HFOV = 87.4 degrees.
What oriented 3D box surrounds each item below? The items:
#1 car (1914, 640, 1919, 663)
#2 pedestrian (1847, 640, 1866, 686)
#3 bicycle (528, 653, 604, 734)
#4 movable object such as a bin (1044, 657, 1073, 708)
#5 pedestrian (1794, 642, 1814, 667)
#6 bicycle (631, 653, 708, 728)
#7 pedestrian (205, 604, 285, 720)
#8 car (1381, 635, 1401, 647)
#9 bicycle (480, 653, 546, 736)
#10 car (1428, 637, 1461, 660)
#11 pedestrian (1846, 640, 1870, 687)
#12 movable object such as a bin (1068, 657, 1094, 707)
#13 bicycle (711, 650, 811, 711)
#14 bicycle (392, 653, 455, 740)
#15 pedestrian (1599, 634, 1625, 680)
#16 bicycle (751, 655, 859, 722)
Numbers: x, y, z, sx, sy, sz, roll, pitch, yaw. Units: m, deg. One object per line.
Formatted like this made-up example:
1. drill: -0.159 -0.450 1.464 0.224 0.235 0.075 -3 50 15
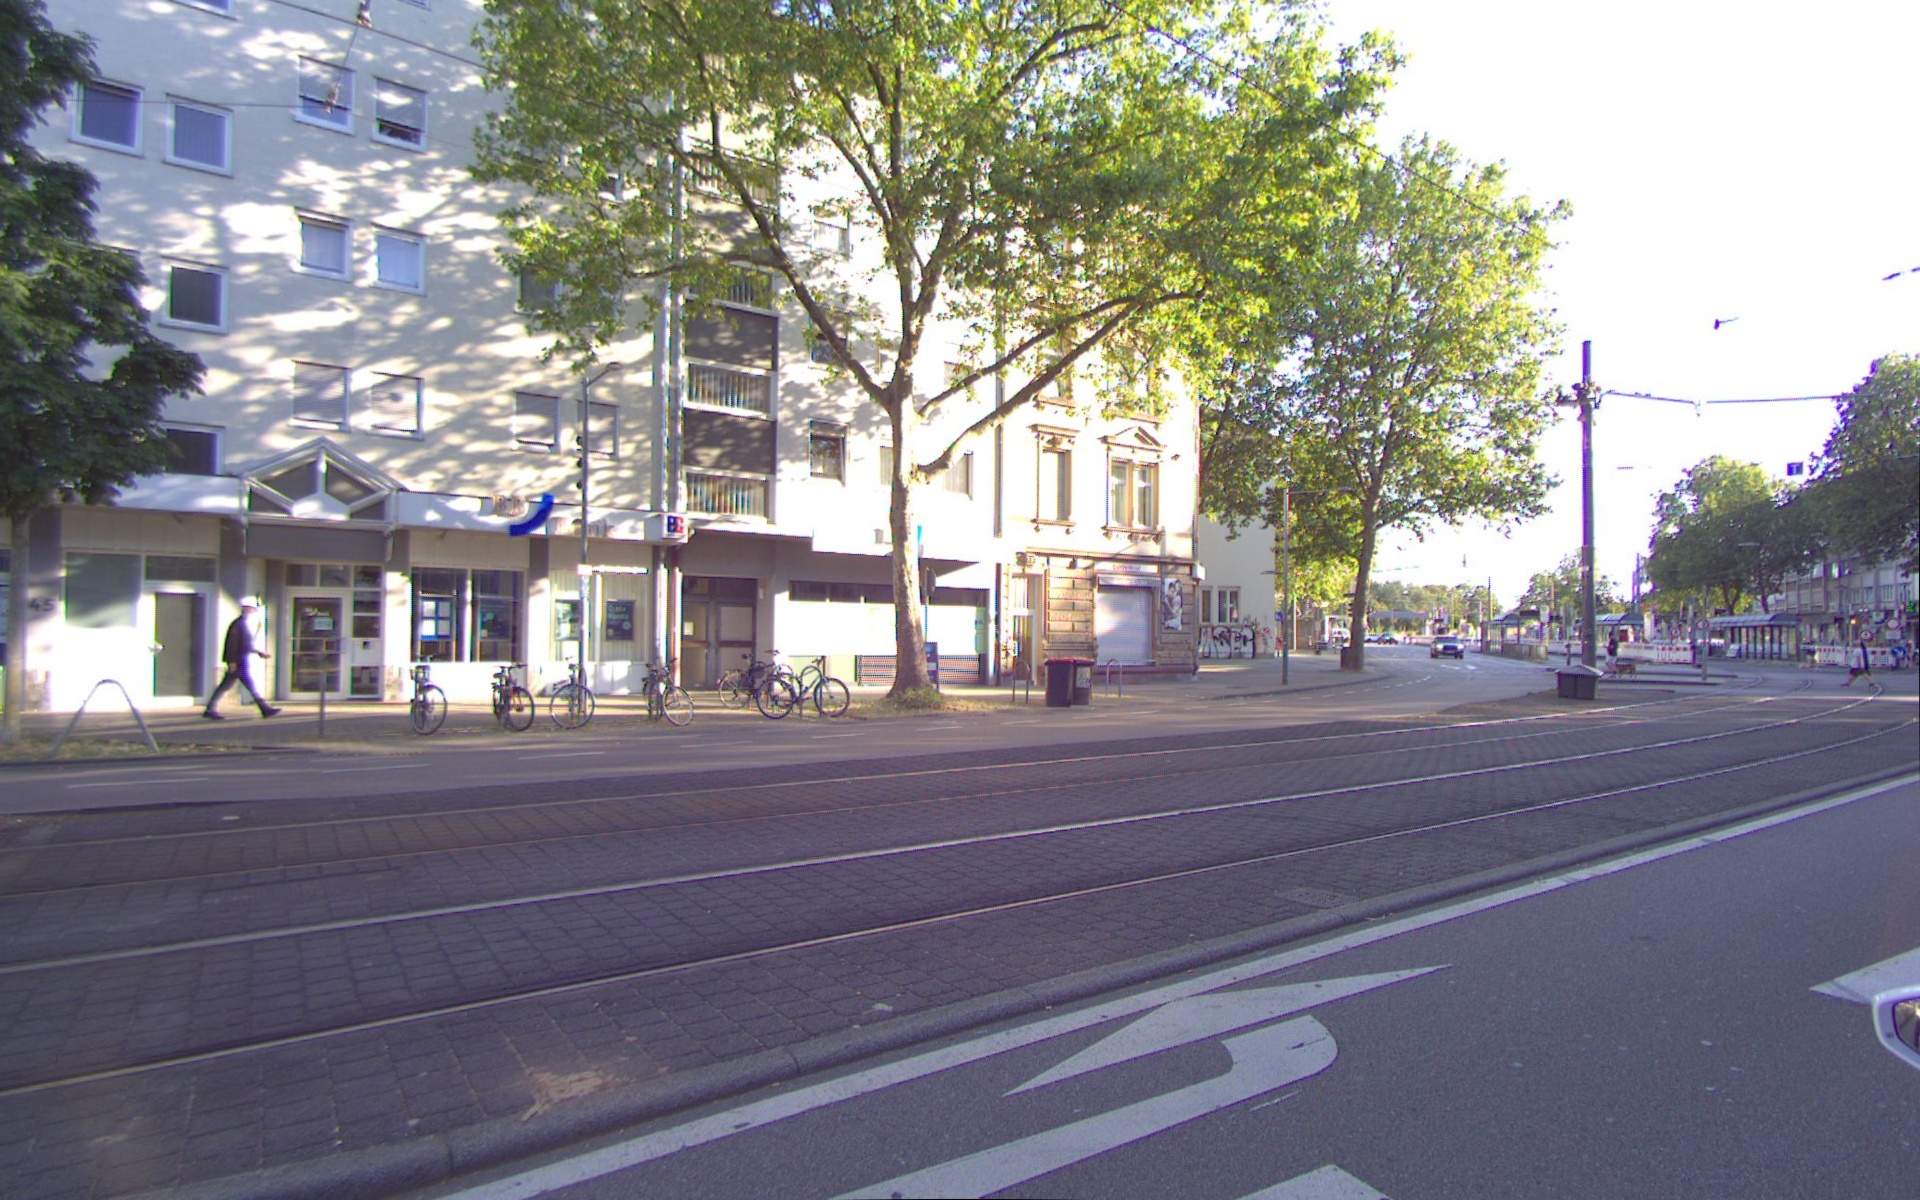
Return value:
1. car: 64.538 3.391 65.855 1.635 1.488 3.412 -3 -3 22
2. pedestrian: 29.946 2.100 33.551 0.403 1.524 0.515 0 -2 37
3. bicycle: -6.330 1.457 16.093 0.646 1.139 1.880 2 -1 -36
4. movable object such as a bin: 2.179 1.814 22.233 0.634 1.108 0.546 0 -2 5
5. pedestrian: 44.124 2.850 52.529 0.768 1.321 0.591 -1 -2 40
6. bicycle: -4.971 1.509 17.113 0.646 1.139 1.880 2 -1 -36
7. pedestrian: -11.530 0.988 16.223 0.959 1.811 0.615 2 0 -31
8. car: 60.477 5.763 141.069 1.854 1.606 4.210 0 -2 14
9. bicycle: -6.968 1.428 15.620 0.529 1.139 1.880 2 -1 -36
10. car: 32.717 3.234 67.928 1.856 1.492 4.205 0 -2 24
11. pedestrian: 29.576 2.091 33.085 0.513 1.524 0.591 -1 -2 37
12. movable object such as a bin: 2.751 1.854 22.851 0.562 1.108 0.477 0 -2 5
13. bicycle: -3.947 1.585 20.029 1.891 1.139 0.505 2 -1 -34
14. bicycle: -7.961 1.387 14.872 0.529 1.139 1.880 2 -1 -36
15. pedestrian: 25.212 2.187 38.842 0.663 1.733 0.431 2 0 2
16. bicycle: -2.800 1.575 18.233 1.891 1.139 0.505 2 -1 -34
